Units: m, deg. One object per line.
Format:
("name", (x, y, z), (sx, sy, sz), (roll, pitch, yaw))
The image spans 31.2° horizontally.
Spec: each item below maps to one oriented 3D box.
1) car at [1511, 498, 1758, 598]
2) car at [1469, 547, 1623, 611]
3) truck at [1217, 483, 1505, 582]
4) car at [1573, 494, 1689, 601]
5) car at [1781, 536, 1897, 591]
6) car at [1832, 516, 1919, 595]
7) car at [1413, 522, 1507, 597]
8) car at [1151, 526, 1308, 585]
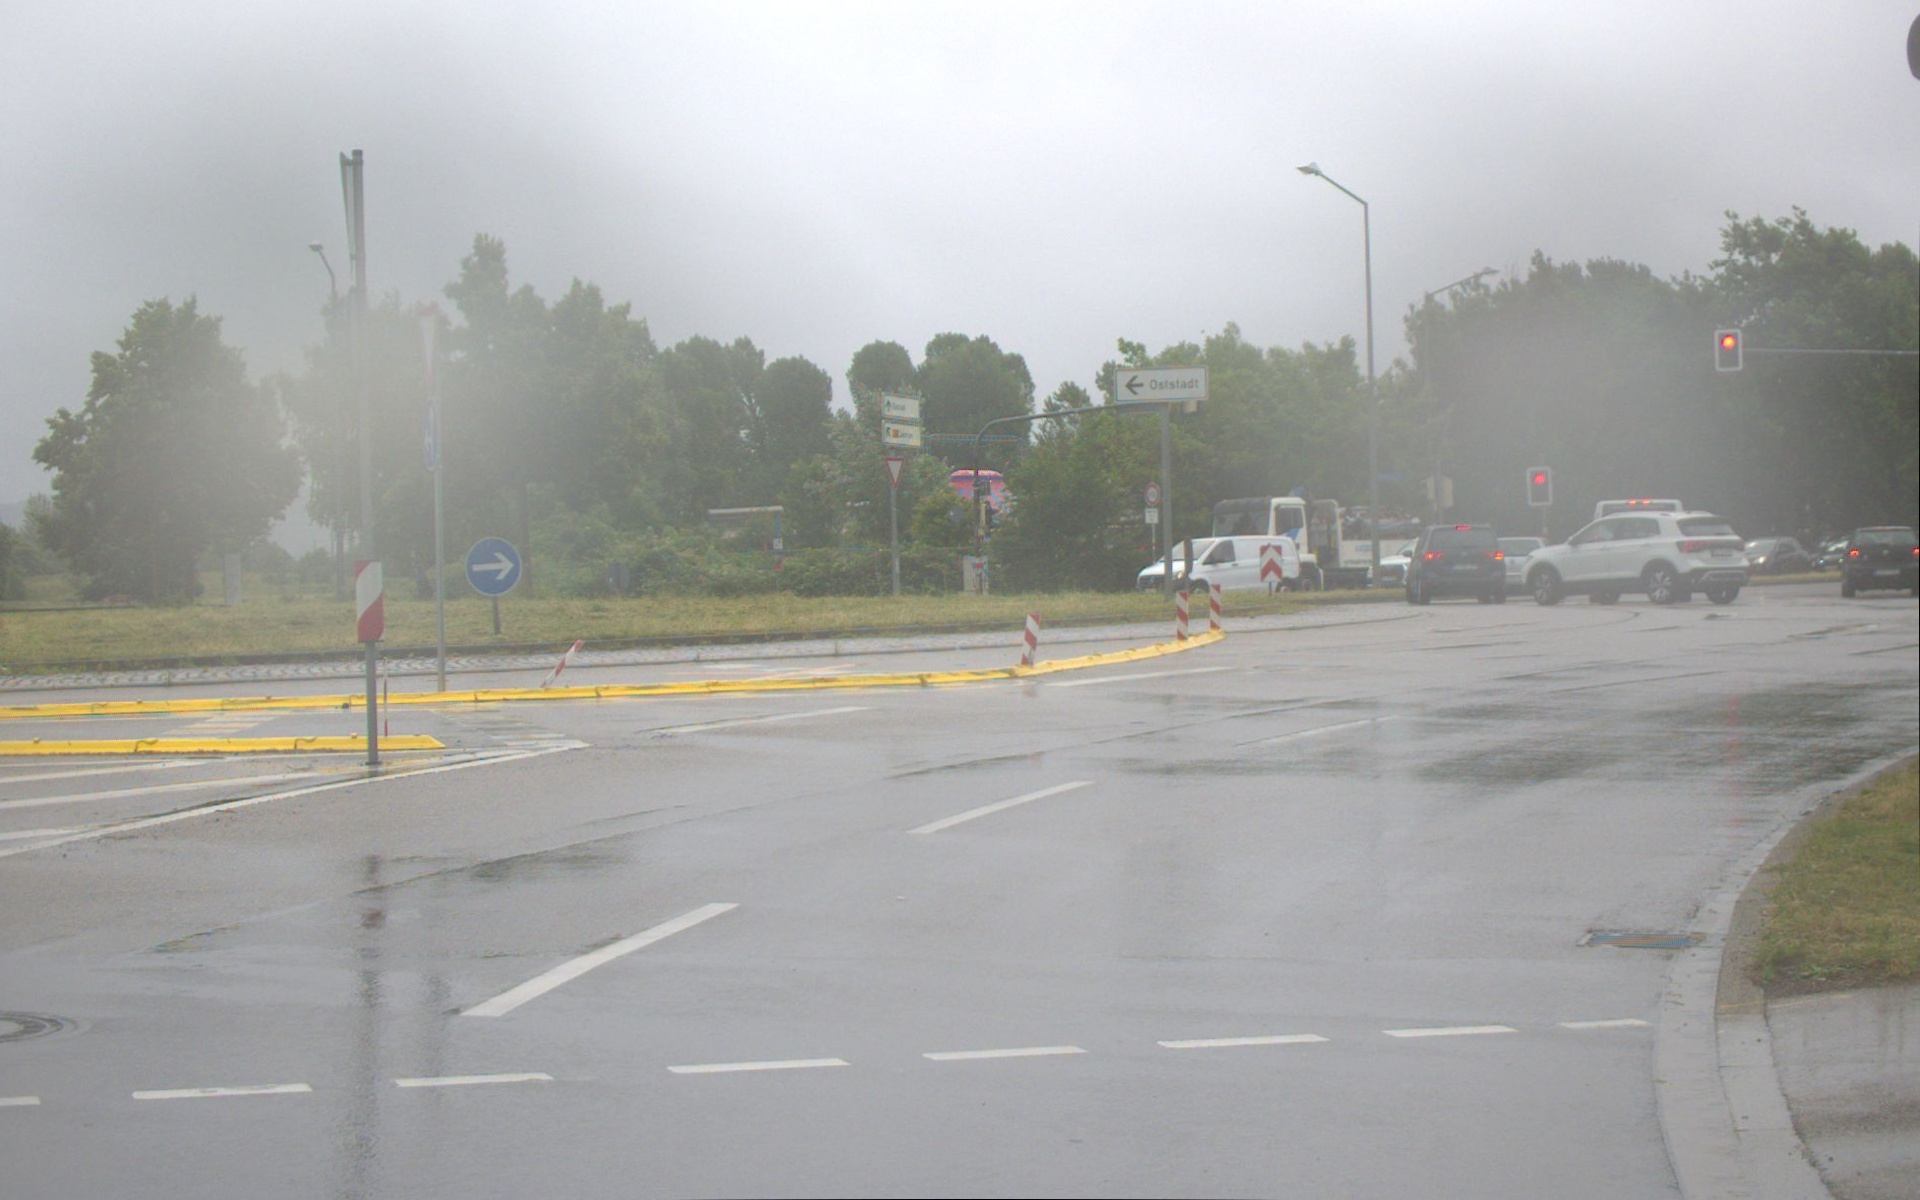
("car", (11.460, -0.884, 58.594), (1.681, 1.642, 3.946), (0, 1, -40))
("car", (12.951, -0.459, 75.973), (3.122, 1.367, 1.391), (1, 1, -26))
("truck", (11.619, -1.915, 99.074), (8.768, 2.702, 2.000), (0, 1, -30))
("car", (13.257, -1.025, 68.117), (1.783, 2.029, 3.999), (1, 1, 5))
("car", (28.798, -1.179, 112.525), (1.998, 1.744, 3.990), (1, 1, 43))
("car", (18.245, -0.901, 67.967), (1.689, 1.487, 3.250), (-1, 1, 10))
("car", (10.264, -0.821, 70.697), (1.689, 1.487, 3.250), (1, 1, 5))
("car", (7.194, -1.178, 91.455), (1.610, 1.487, 4.537), (1, 1, 45))
